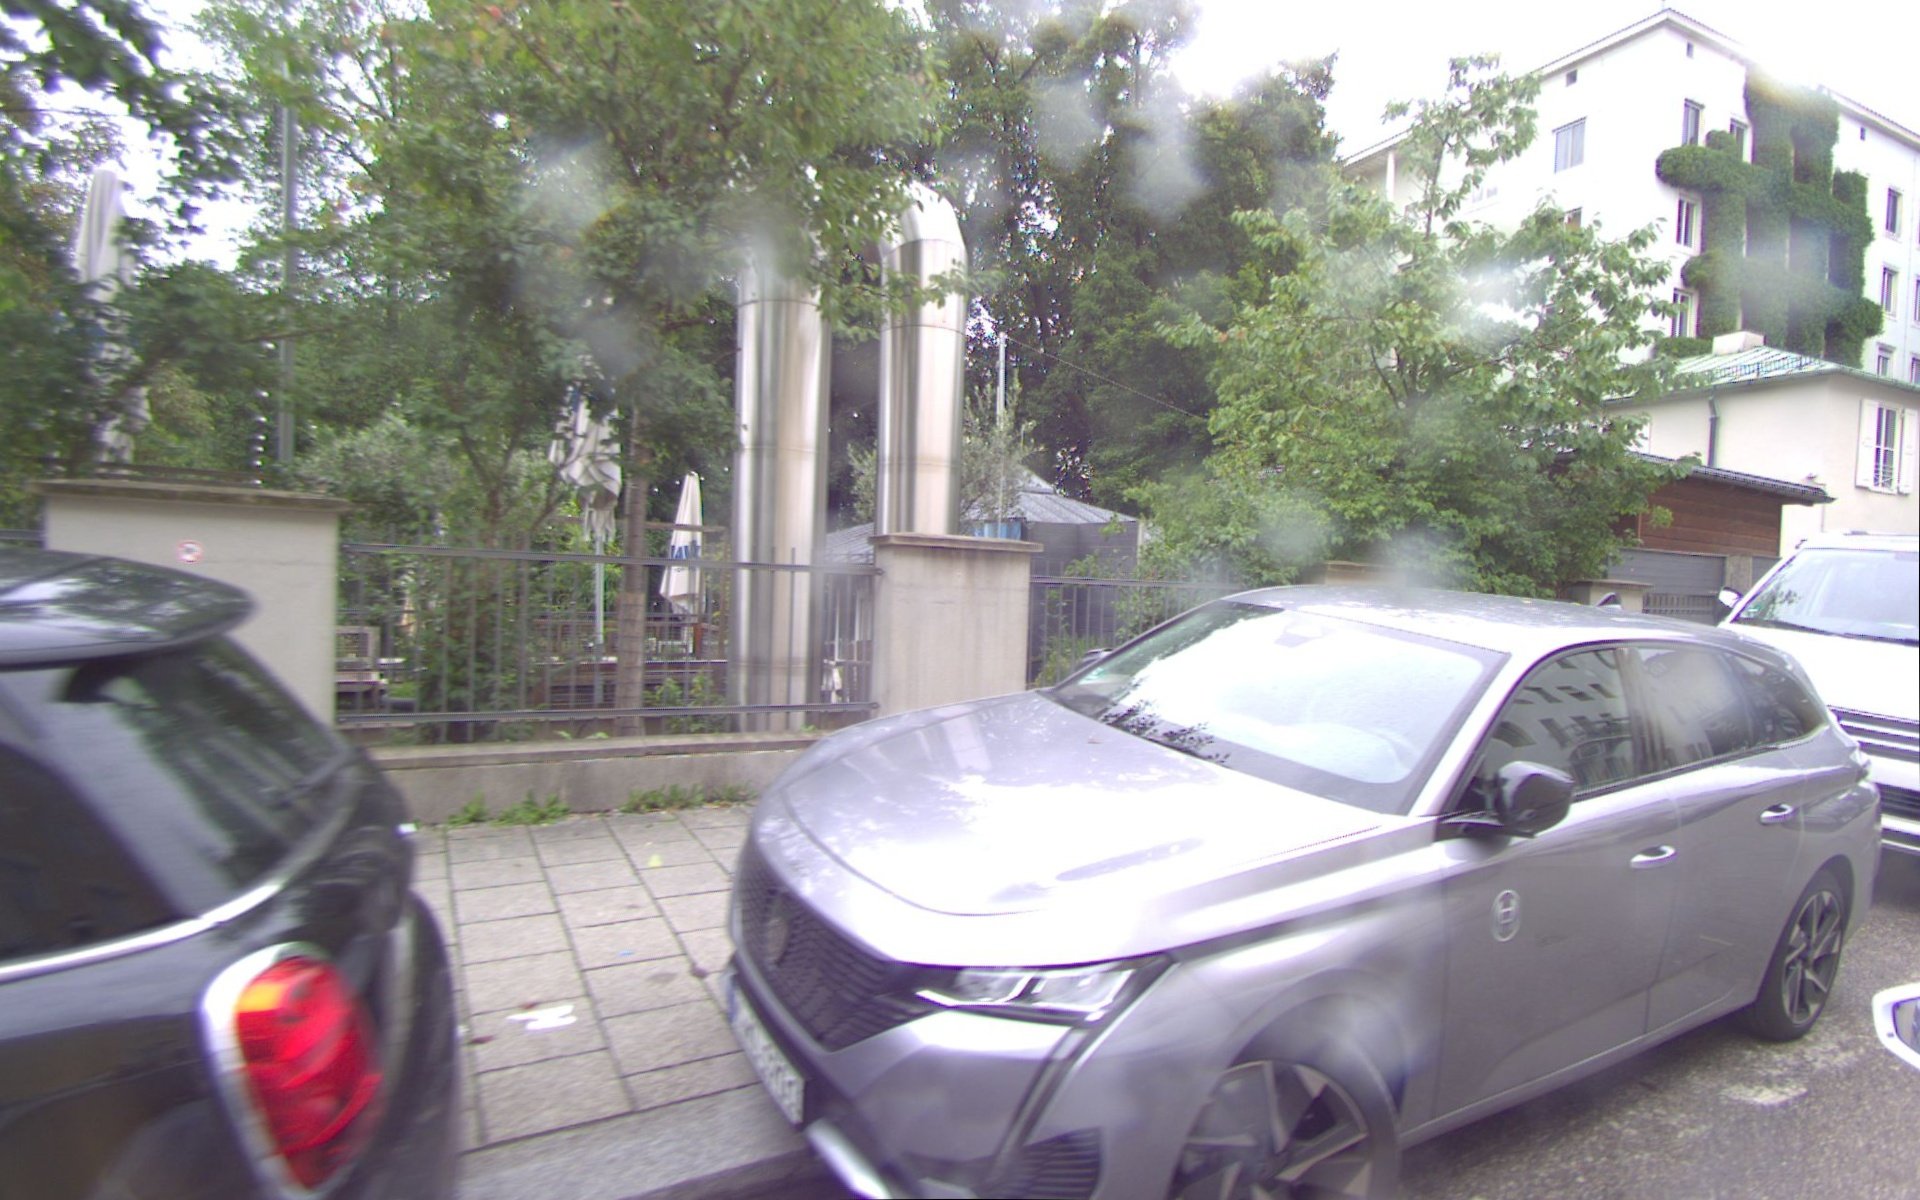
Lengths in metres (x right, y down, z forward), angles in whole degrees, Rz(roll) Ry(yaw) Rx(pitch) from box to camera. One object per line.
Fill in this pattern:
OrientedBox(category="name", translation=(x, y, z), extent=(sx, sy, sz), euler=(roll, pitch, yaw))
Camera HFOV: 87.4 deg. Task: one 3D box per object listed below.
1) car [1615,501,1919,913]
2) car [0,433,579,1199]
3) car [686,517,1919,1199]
OrientedBox(category="car", translation=(6.682, 0.558, 6.603), extent=(5.095, 2.017, 1.955), euler=(1, 3, -32))
OrientedBox(category="car", translation=(-2.704, 0.588, 0.985), extent=(4.137, 1.565, 1.851), euler=(2, -1, -29))
OrientedBox(category="car", translation=(1.622, 0.671, 3.552), extent=(4.646, 1.564, 1.876), euler=(1, 1, -33))
